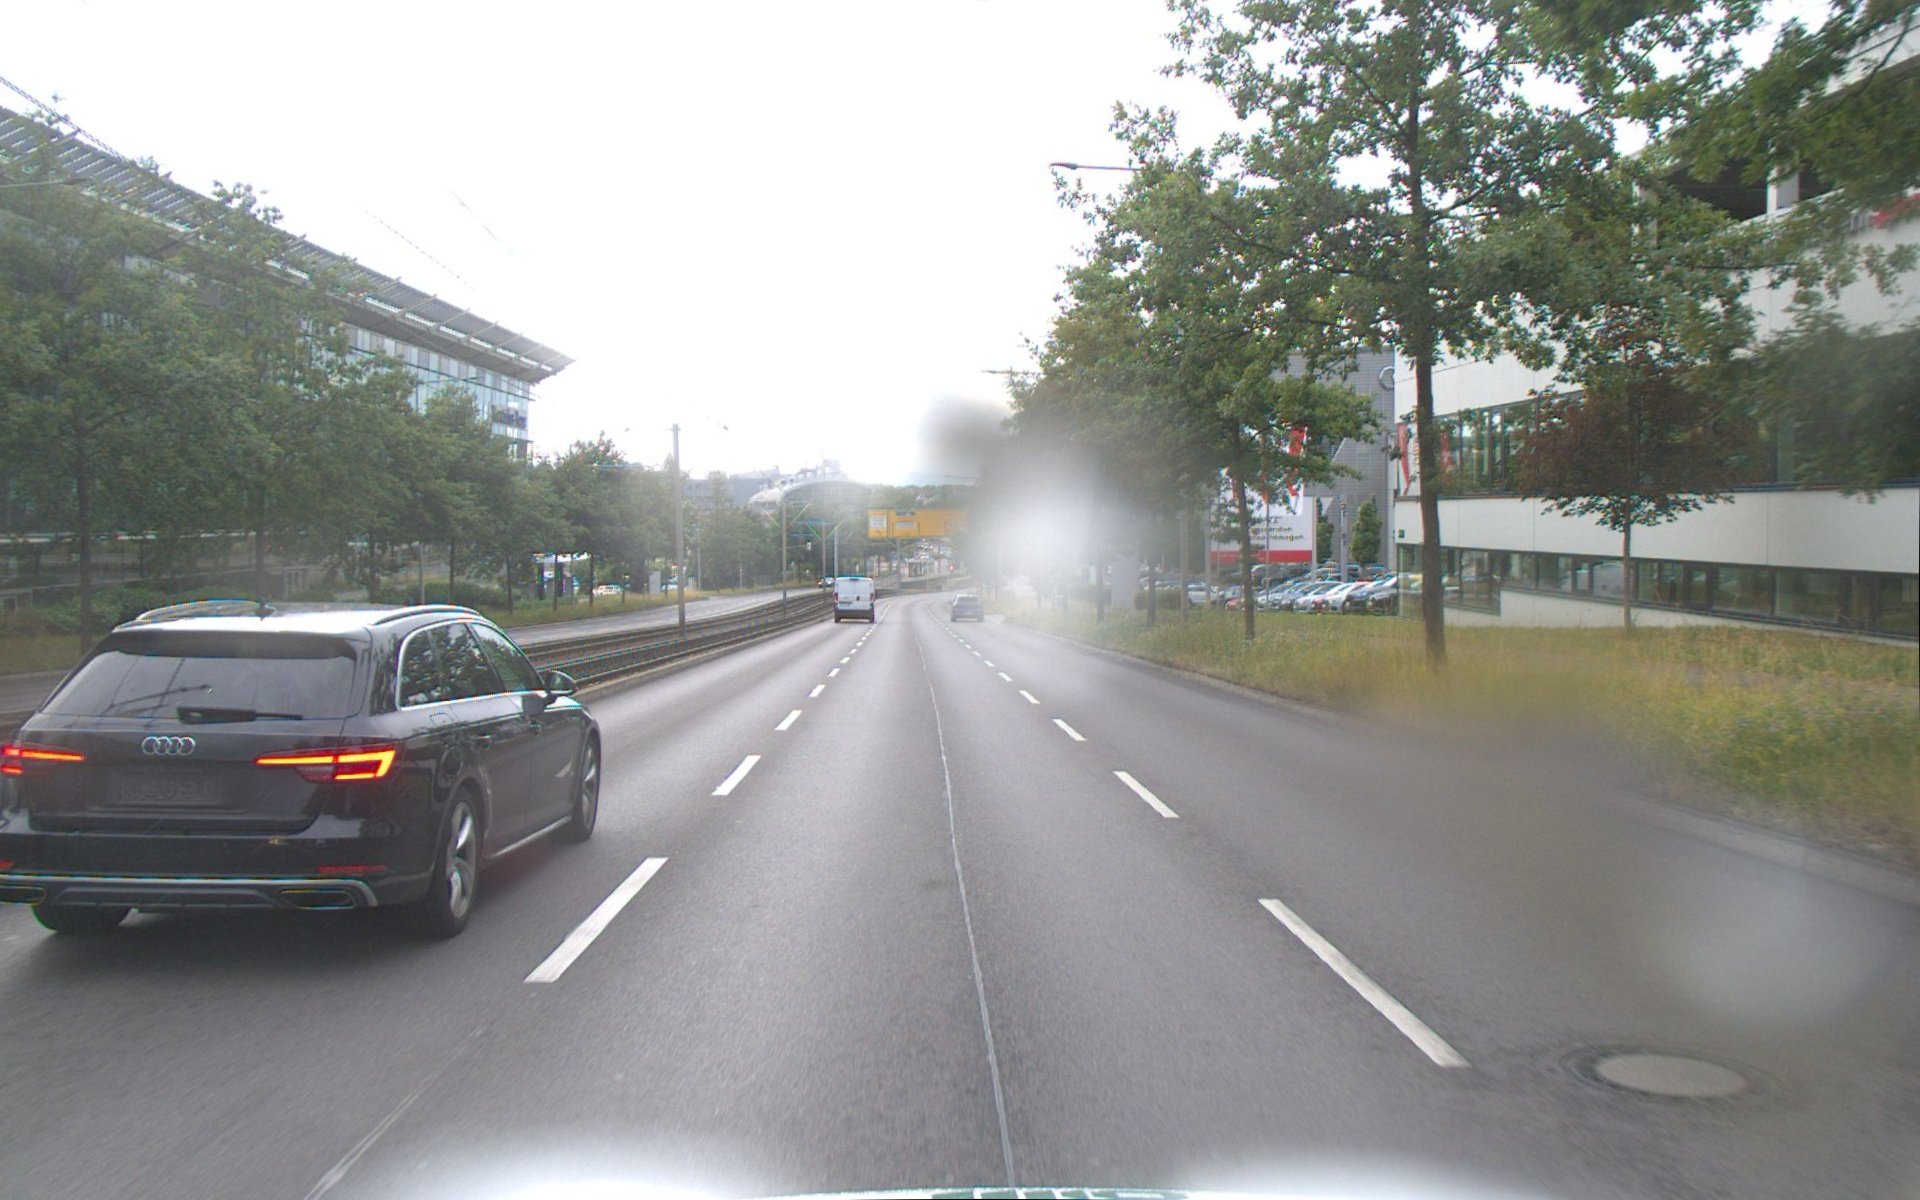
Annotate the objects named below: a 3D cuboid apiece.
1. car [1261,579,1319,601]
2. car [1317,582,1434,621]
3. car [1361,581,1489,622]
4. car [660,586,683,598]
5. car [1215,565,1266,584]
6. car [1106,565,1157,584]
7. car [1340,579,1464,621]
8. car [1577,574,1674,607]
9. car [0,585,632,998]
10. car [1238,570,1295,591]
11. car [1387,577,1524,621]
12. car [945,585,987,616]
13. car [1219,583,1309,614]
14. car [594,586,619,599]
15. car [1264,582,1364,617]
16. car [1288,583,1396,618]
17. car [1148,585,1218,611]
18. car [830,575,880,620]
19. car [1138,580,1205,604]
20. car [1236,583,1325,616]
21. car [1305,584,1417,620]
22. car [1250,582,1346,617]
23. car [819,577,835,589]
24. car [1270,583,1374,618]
[{"bbox_3d":[25.052,-0.751,125.743,4.024,1.601,1.692,-1,1,-3],"label":"car"},{"bbox_3d":[17.131,0.059,68.292,4.309,1.452,1.890,-2,0,-2],"label":"car"},{"bbox_3d":[17.404,0.062,62.007,4.235,1.402,1.835,-1,0,-5],"label":"car"},{"bbox_3d":[-38.053,-1.017,218.032,1.970,1.536,3.965,1,0,-27],"label":"car"},{"bbox_3d":[23.967,-2.169,141.264,4.024,1.601,1.692,0,1,-3],"label":"car"},{"bbox_3d":[14.601,-2.206,140.918,4.174,1.601,1.692,0,1,-3],"label":"car"},{"bbox_3d":[17.441,0.003,65.387,4.309,1.527,2.039,-2,0,-2],"label":"car"},{"bbox_3d":[33.879,-0.489,84.223,4.192,1.621,1.825,-1,0,-5],"label":"car"},{"bbox_3d":[-2.979,0.697,8.423,1.728,1.489,4.626,1,0,-1],"label":"car"},{"bbox_3d":[23.793,-1.525,128.292,4.023,1.601,1.825,0,1,-3],"label":"car"},{"bbox_3d":[17.857,-0.020,59.709,4.310,1.507,1.930,-1,0,-3],"label":"car"},{"bbox_3d":[0.291,0.028,90.304,1.981,1.651,3.996,1,0,-4],"label":"car"},{"bbox_3d":[16.373,-0.060,89.158,4.376,1.578,1.928,-1,0,-7],"label":"car"},{"bbox_3d":[-45.848,-0.971,214.408,1.975,1.536,3.954,1,0,-33],"label":"car"},{"bbox_3d":[17.151,-0.006,80.261,4.372,1.555,1.930,-1,0,-3],"label":"car"},{"bbox_3d":[17.177,0.011,74.426,4.372,1.481,1.930,-1,0,-3],"label":"car"},{"bbox_3d":[14.172,-0.121,105.335,4.031,1.622,1.943,0,-1,-11],"label":"car"},{"bbox_3d":[-5.425,-0.110,85.273,2.462,2.215,5.145,1,0,-4],"label":"car"},{"bbox_3d":[14.752,-0.553,115.607,4.430,1.622,1.691,0,0,-3],"label":"car"},{"bbox_3d":[16.670,-0.020,86.125,4.192,1.621,1.825,-1,0,-5],"label":"car"},{"bbox_3d":[17.254,0.080,71.302,4.310,1.372,1.930,-2,-1,-3],"label":"car"},{"bbox_3d":[17.004,-0.020,83.238,4.372,1.578,1.930,-2,0,-3],"label":"car"},{"bbox_3d":[-18.298,-2.320,227.703,1.844,1.547,4.404,-3,1,0],"label":"car"},{"bbox_3d":[16.931,0.043,77.449,4.372,1.481,1.930,-2,0,-3],"label":"car"}]
